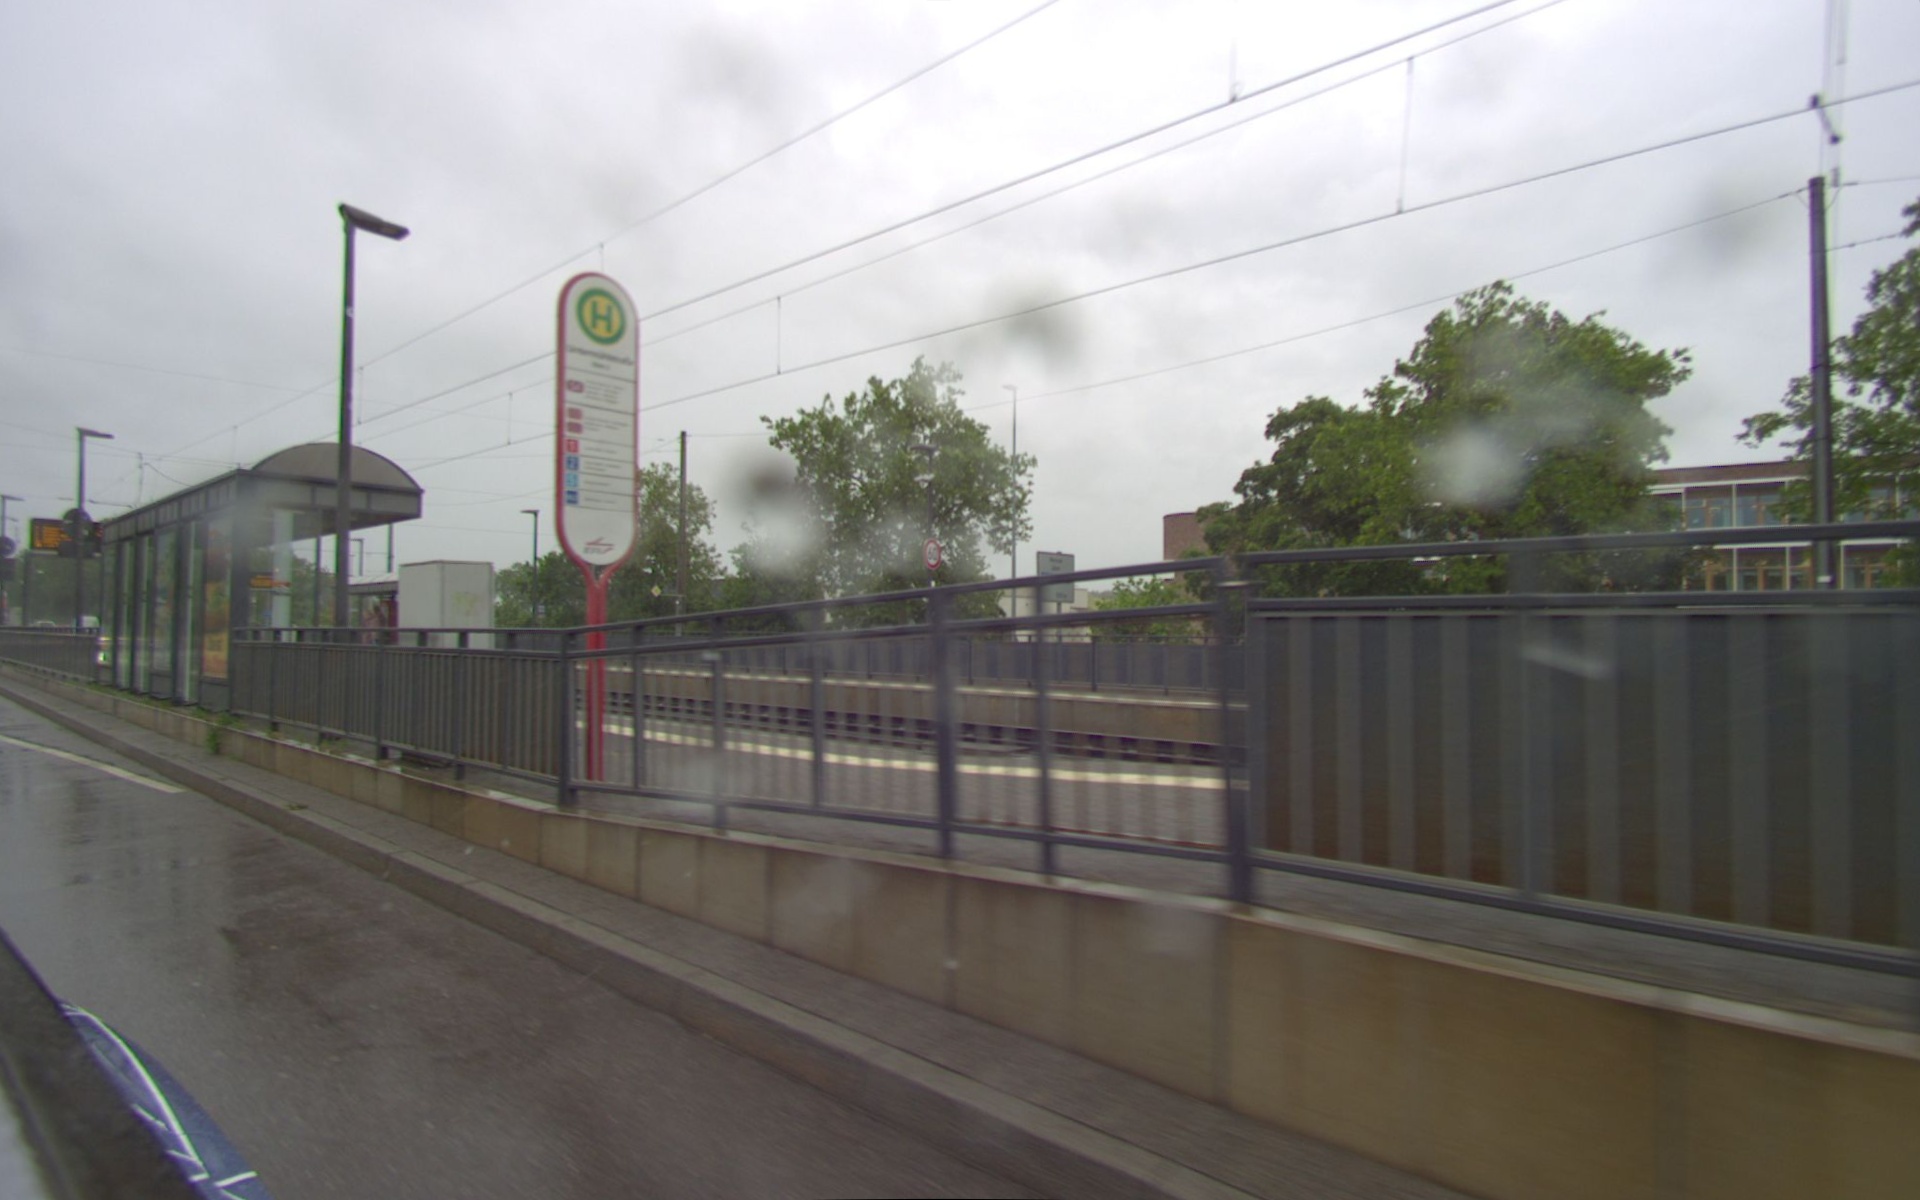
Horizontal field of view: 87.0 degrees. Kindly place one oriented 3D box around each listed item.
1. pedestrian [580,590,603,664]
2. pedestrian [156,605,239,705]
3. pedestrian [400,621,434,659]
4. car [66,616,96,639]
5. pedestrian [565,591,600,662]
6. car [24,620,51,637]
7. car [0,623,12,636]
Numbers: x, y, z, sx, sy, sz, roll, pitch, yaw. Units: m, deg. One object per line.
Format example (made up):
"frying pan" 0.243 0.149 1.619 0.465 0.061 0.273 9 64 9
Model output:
"pedestrian" -20.530 1.511 56.431 1.152 4.059 1.524 1 -1 -20
"pedestrian" -10.658 0.750 14.143 0.659 1.350 0.805 -2 -2 42
"pedestrian" -19.542 1.442 36.410 0.858 1.326 0.822 -2 -1 42
"car" -107.944 3.352 124.318 5.737 2.733 2.097 -1 -2 42
"pedestrian" -21.995 1.551 58.952 1.514 4.059 1.160 -1 -1 31
"car" -112.020 3.475 122.869 4.752 2.029 1.972 -1 -2 42
"car" -141.015 4.348 148.818 4.257 1.785 1.972 -1 -2 42
